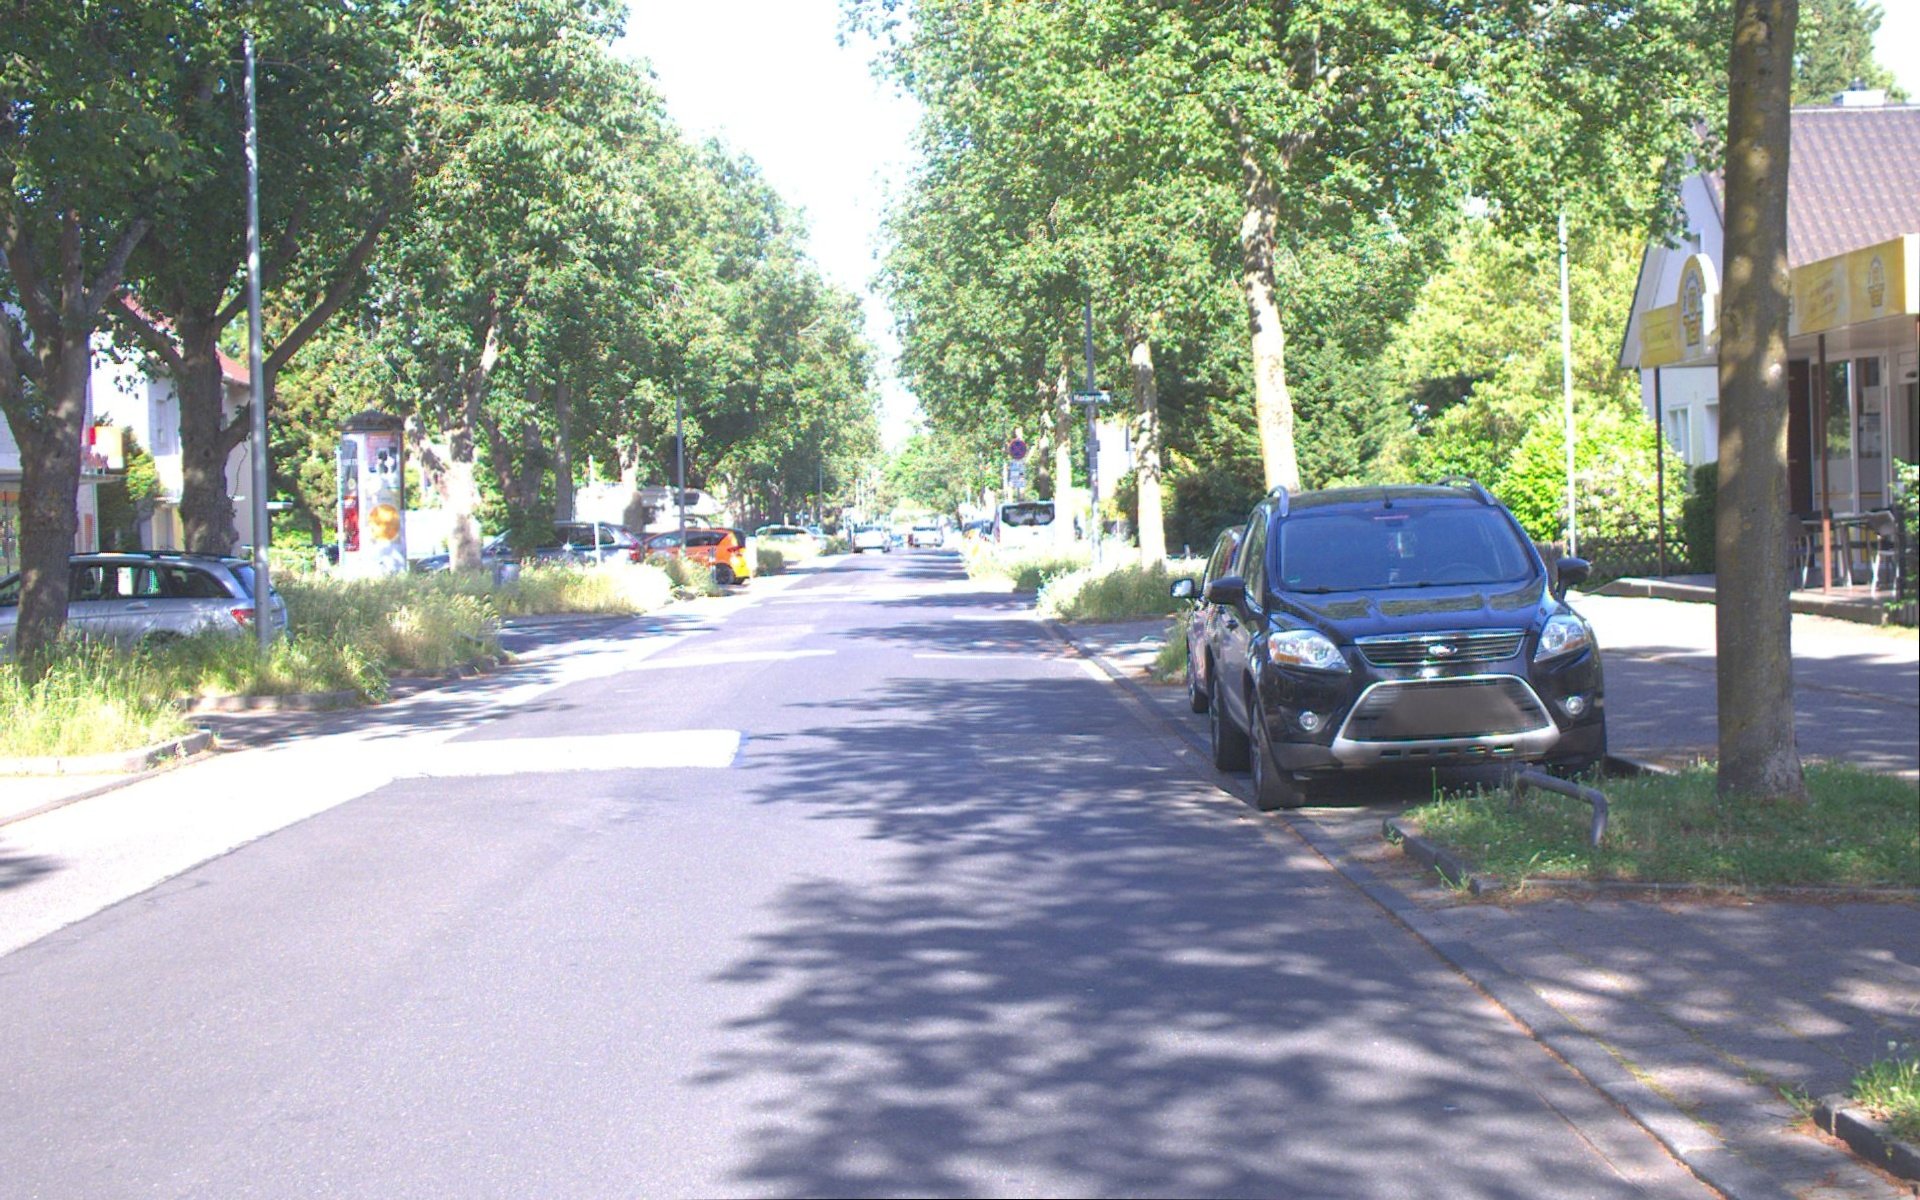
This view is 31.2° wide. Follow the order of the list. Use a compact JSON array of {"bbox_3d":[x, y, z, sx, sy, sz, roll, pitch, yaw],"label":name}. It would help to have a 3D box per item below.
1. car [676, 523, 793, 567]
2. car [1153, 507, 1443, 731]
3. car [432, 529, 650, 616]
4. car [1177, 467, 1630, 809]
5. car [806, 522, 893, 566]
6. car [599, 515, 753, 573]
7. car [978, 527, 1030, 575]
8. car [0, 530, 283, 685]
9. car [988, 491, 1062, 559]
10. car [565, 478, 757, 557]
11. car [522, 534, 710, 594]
[{"bbox_3d":[-7.498,-1.818,114.271,3.702,1.441,1.664,0,1,3],"label":"car"},{"bbox_3d":[2.462,0.100,25.871,1.697,1.474,3.888,-3,1,0],"label":"car"},{"bbox_3d":[-8.914,-0.601,73.411,4.545,1.759,2.001,0,3,-5],"label":"car"},{"bbox_3d":[2.349,0.162,19.363,1.853,1.620,4.470,-3,1,-1],"label":"car"},{"bbox_3d":[-5.275,-2.701,164.356,3.987,2.006,2.000,0,3,4],"label":"car"},{"bbox_3d":[-7.561,-1.501,91.779,3.875,1.474,1.894,1,1,2],"label":"car"},{"bbox_3d":[1.662,-1.864,130.318,1.902,1.768,4.301,0,1,0],"label":"car"},{"bbox_3d":[-9.510,0.054,35.797,4.554,1.506,1.841,0,3,0],"label":"car"},{"bbox_3d":[1.712,-1.991,92.123,1.902,1.768,4.301,0,1,0],"label":"car"},{"bbox_3d":[-8.747,-2.438,101.151,5.498,2.239,2.517,0,3,-2],"label":"car"},{"bbox_3d":[-7.930,-0.830,79.437,4.286,1.310,1.909,0,3,-5],"label":"car"}]
